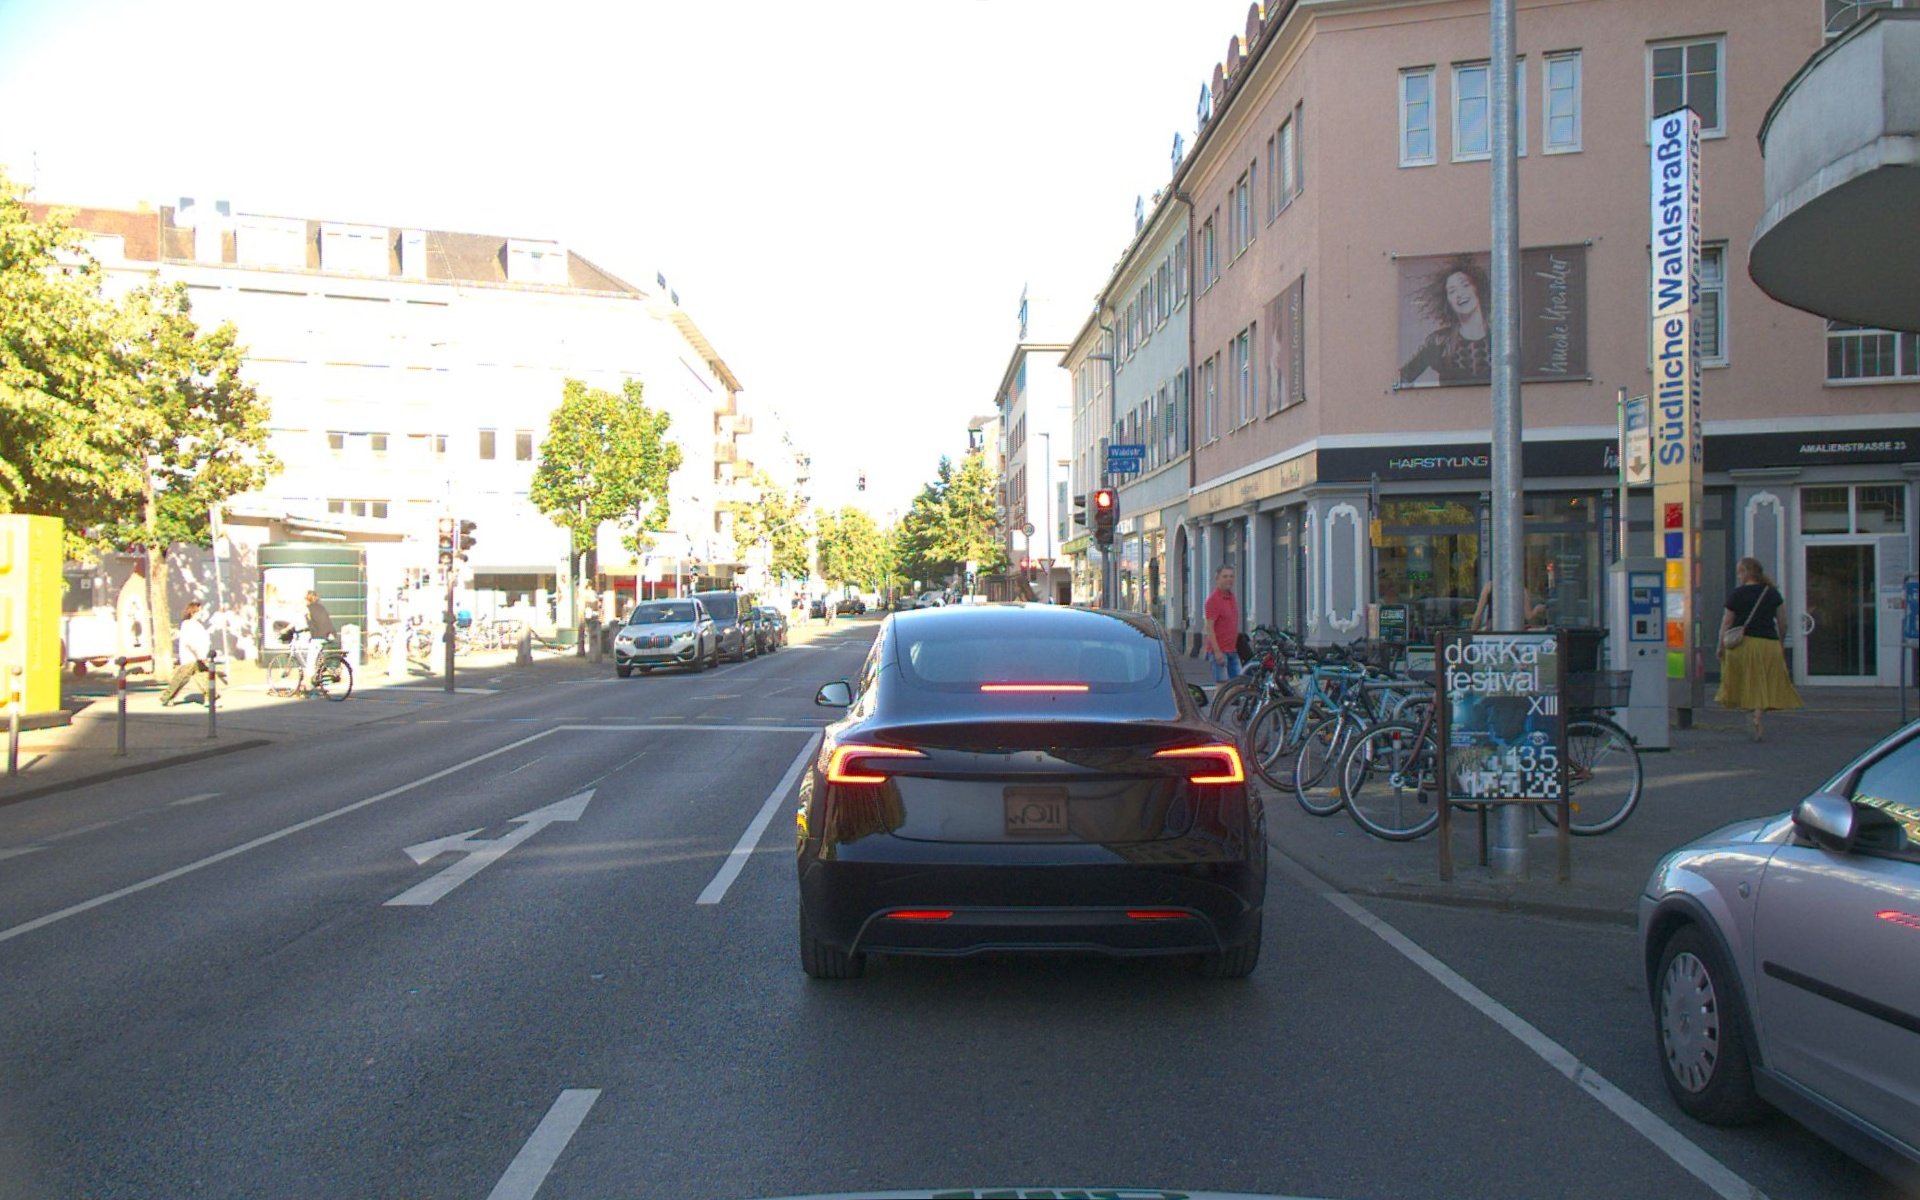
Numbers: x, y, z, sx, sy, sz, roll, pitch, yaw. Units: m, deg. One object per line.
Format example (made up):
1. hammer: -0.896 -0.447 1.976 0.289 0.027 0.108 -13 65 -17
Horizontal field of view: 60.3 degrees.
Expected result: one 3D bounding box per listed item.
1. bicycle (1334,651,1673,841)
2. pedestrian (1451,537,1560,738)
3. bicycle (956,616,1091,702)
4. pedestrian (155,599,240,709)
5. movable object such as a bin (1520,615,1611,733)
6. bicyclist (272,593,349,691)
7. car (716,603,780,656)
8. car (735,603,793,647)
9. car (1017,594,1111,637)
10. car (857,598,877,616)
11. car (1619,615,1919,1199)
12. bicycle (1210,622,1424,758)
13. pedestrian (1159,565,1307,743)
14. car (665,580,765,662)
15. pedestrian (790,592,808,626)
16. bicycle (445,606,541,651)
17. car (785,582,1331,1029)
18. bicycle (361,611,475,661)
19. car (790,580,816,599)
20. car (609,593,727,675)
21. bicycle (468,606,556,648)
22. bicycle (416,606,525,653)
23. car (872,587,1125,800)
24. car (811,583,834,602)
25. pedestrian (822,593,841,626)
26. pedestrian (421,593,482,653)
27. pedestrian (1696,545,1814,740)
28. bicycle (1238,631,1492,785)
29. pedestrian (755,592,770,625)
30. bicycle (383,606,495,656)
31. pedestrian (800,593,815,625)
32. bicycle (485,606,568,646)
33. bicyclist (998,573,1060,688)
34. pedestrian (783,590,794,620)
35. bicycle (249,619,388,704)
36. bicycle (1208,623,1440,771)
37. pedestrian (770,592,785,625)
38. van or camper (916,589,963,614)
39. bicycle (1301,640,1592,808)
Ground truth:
1. bicycle: 3.282 0.874 10.091 1.844 1.062 0.653 -1 0 0
2. pedestrian: 5.335 0.361 16.215 0.667 1.882 0.893 -3 -1 1
3. bicycle: 0.940 0.857 24.291 1.912 1.178 0.576 -2 -1 7
4. pedestrian: -11.052 0.773 23.989 0.904 1.570 0.694 1 -1 -6
5. movable object such as a bin: 6.046 0.731 16.542 0.623 1.122 0.728 -2 0 3
6. bicyclist: -10.335 0.661 26.346 0.934 1.510 0.608 1 -1 9
7. car: -6.332 0.854 49.692 1.431 1.455 3.605 -3 0 -1
8. car: -6.724 0.832 56.927 1.660 1.414 3.914 -1 0 -3
9. car: 4.716 0.703 74.741 3.937 1.900 1.686 0 0 -22
10. car: -10.499 0.832 186.967 2.089 2.004 4.133 0 0 -1
11. car: 2.925 0.780 3.538 1.551 1.451 3.579 1 0 -1
12. bicycle: 3.165 0.791 14.777 1.776 1.172 0.653 0 0 0
13. pedestrian: 2.819 0.537 17.059 1.095 1.750 1.054 0 -1 45
14. car: -6.228 0.506 42.565 1.906 1.981 4.819 0 0 -1
15. pedestrian: -9.183 0.512 94.363 0.719 1.900 0.790 1 -1 28
16. bicycle: -14.006 0.846 49.643 2.609 1.281 0.942 1 0 -4
17. car: 0.303 0.699 7.772 1.812 1.472 4.450 1 0 -1
18. bicycle: -13.946 0.926 42.586 2.607 1.216 0.942 1 0 -4
19. car: -17.015 -1.127 179.406 2.228 2.049 4.717 1 0 0
20. car: -6.319 0.711 36.237 1.788 1.592 4.299 -3 0 -1
21. bicycle: -14.058 0.851 51.918 2.491 1.273 0.942 1 0 -4
22. bicycle: -13.997 0.831 47.325 2.818 1.292 0.942 1 0 -4
23. car: 0.246 0.685 14.196 1.812 1.507 4.450 1 0 -1
24. car: -15.598 -0.815 188.062 2.228 2.049 4.717 1 0 0
25. pedestrian: -7.462 0.548 95.896 0.764 1.900 1.002 1 -1 -23
26. pedestrian: -14.248 0.638 46.373 1.070 1.639 1.267 1 0 17
27. pedestrian: 7.550 0.397 15.741 0.706 1.785 0.788 -2 -1 5
28. bicycle: 3.053 0.804 12.567 1.776 1.121 0.653 0 0 0
29. pedestrian: -11.569 0.480 96.813 0.721 1.900 0.787 1 -1 -17
30. bicycle: -14.120 0.844 44.923 2.725 1.296 0.932 1 0 -4
31. pedestrian: -9.039 0.529 97.961 0.684 1.900 0.905 1 -1 -18
32. bicycle: -14.224 0.858 54.339 2.491 1.273 0.942 1 0 -4
33. bicyclist: 1.020 0.441 24.299 0.808 1.642 0.580 -2 0 8
34. pedestrian: -10.763 0.314 103.715 0.681 1.900 0.658 1 -1 -6
35. bicycle: -10.201 0.976 26.317 1.952 1.244 0.630 2 -2 9
36. bicycle: 2.982 0.783 13.640 1.776 1.172 0.653 0 0 0
37. pedestrian: -10.676 0.496 96.901 0.721 1.900 0.787 1 -1 -17
38. van or camper: -2.065 0.173 167.520 4.752 2.481 1.850 0 0 -1
39. bicycle: 3.253 0.821 11.163 1.776 1.078 0.653 0 0 0
